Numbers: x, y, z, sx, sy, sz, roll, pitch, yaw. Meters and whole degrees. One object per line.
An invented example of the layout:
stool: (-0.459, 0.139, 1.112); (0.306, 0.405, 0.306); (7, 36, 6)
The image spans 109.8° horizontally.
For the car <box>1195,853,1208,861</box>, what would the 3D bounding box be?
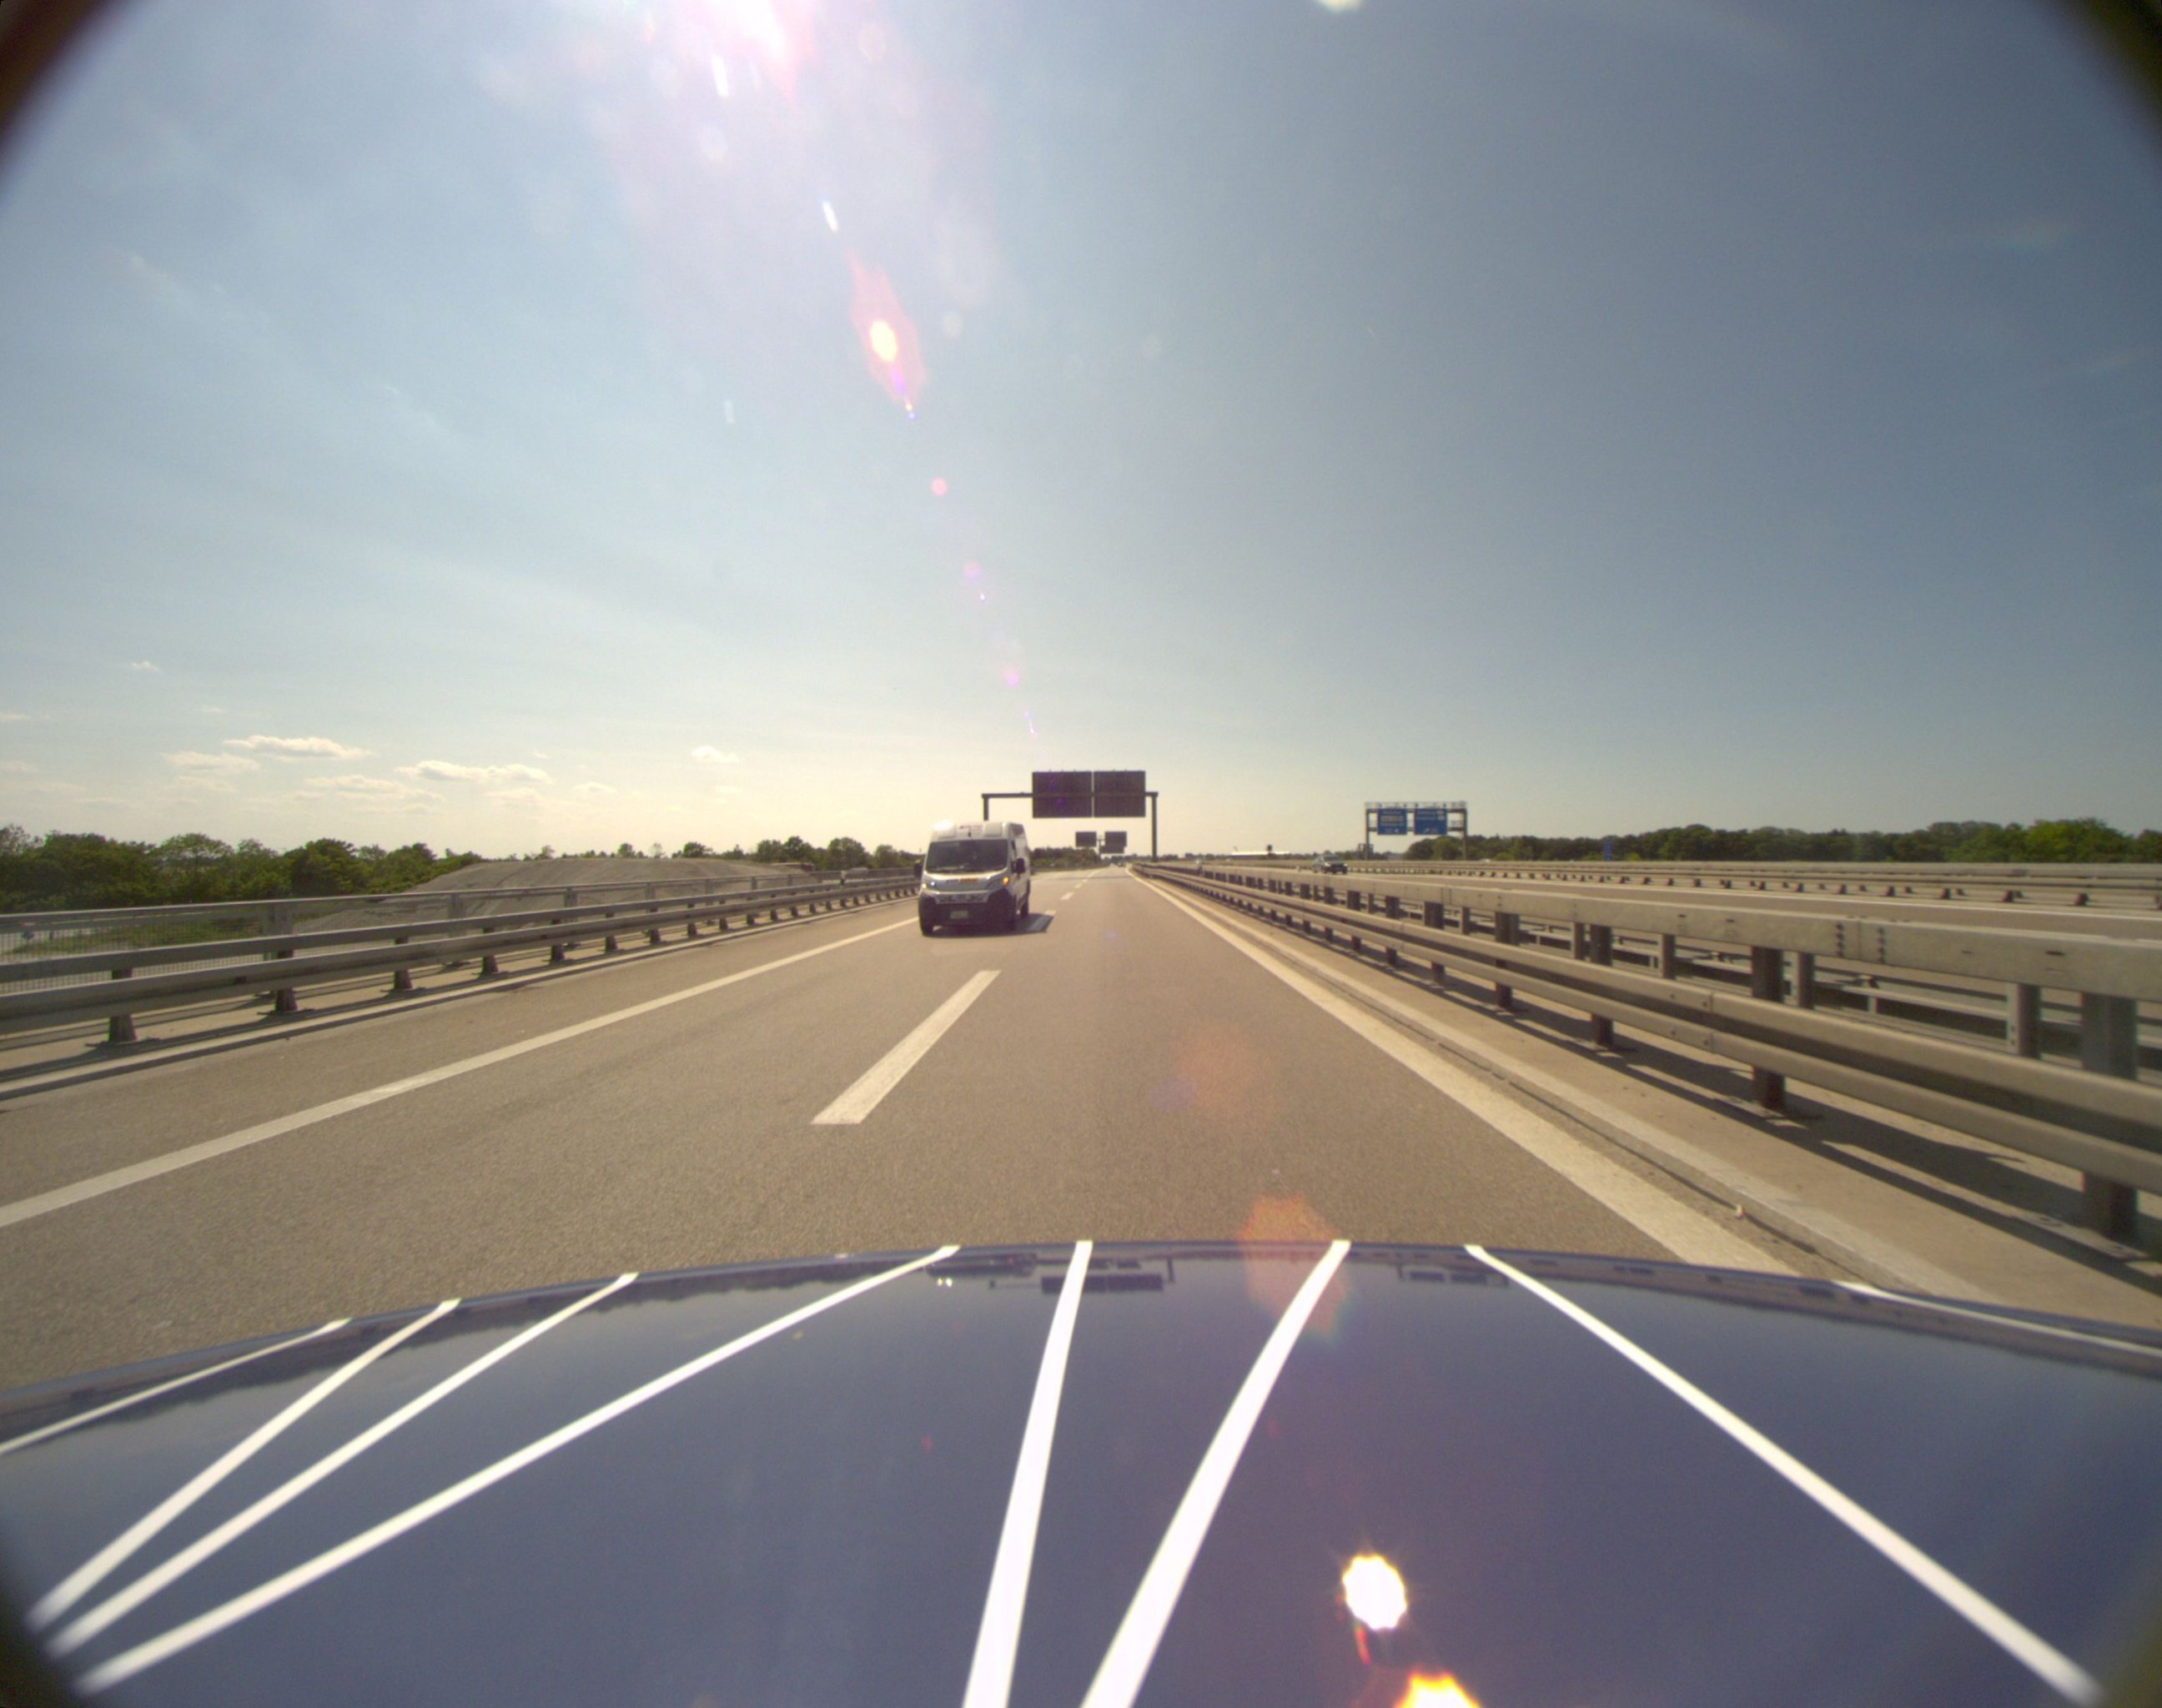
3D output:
car: (22.701, 0.609, 143.620); (1.842, 1.508, 4.576); (-1, 0, 2)

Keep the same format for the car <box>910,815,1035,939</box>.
car: (-2.405, 0.494, 18.649); (2.087, 2.509, 6.237); (-1, 0, 0)

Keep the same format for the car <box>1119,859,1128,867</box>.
car: (9.659, 2.083, 173.112); (1.998, 1.744, 4.001); (-1, 0, 4)

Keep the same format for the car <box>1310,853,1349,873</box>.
car: (19.985, 0.691, 61.314); (1.842, 1.508, 4.576); (-1, 0, 2)

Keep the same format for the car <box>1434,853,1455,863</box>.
car: (53.870, 0.561, 112.750); (1.582, 1.346, 3.342); (0, 2, 1)
